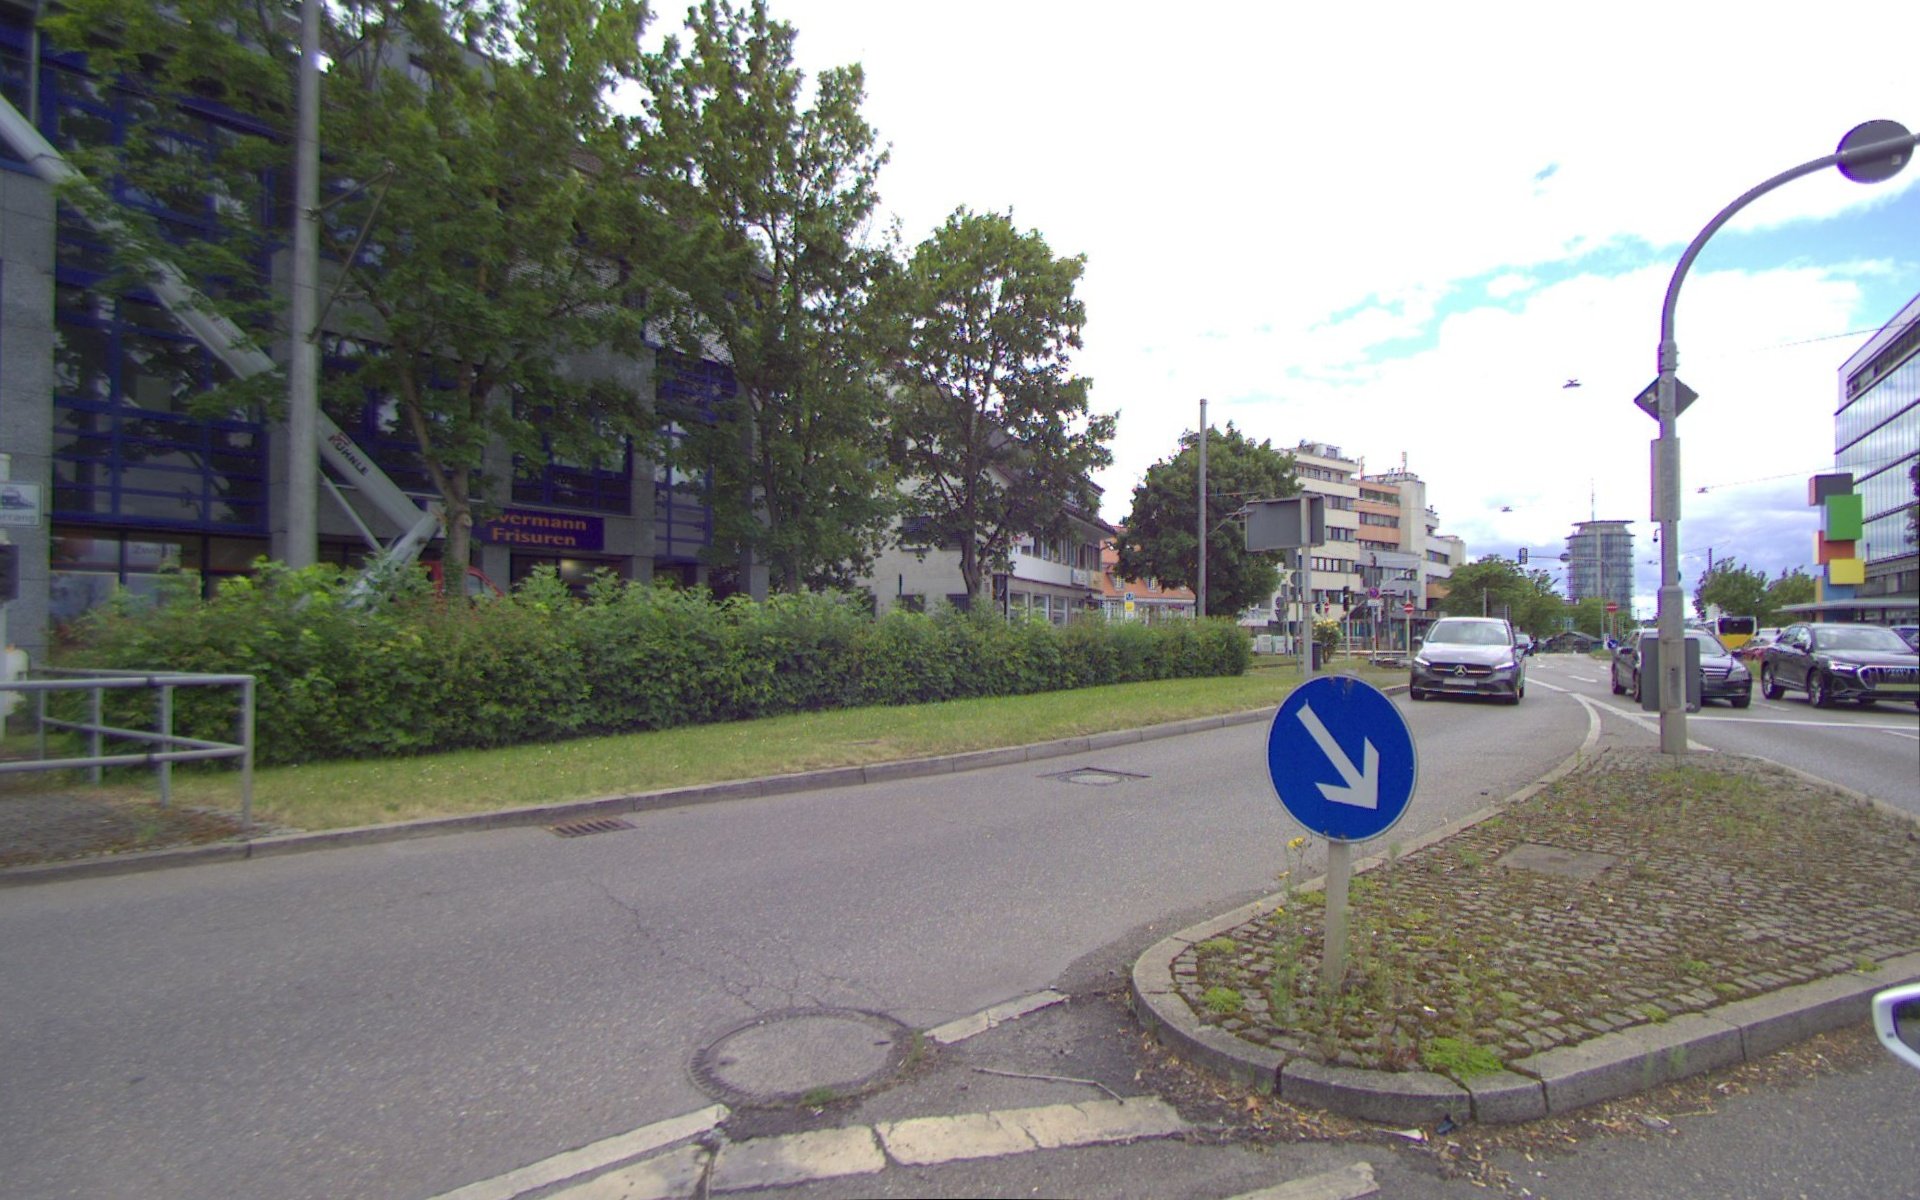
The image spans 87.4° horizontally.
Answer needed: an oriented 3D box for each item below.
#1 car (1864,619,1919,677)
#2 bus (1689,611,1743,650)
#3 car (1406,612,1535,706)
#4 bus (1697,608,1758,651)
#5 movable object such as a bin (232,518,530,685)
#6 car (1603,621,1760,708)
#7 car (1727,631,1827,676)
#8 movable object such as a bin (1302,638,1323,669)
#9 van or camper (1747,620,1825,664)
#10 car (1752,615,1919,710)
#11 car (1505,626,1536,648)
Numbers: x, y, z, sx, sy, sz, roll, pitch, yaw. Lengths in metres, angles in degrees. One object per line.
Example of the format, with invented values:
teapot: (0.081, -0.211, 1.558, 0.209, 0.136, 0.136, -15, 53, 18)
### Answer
car: (32.578, 1.595, 33.906, 1.873, 1.884, 4.703, 1, -1, 27)
bus: (65.038, 2.703, 86.560, 2.911, 3.152, 9.951, -2, -3, 33)
car: (9.856, 1.023, 19.221, 1.758, 1.558, 4.384, 1, 0, 33)
bus: (59.909, 2.385, 78.582, 2.926, 3.157, 9.220, -2, -3, 33)
movable object such as a bin: (-10.005, 0.044, 17.654, 1.880, 2.565, 4.113, 1, 0, 35)
car: (14.189, 1.180, 20.010, 1.755, 1.445, 4.392, 1, 0, 25)
car: (30.251, 1.938, 37.342, 1.844, 1.437, 4.439, 1, -1, 25)
movable object such as a bin: (12.022, 1.812, 34.251, 0.555, 1.026, 0.837, 0, -1, 26)
van or camper: (39.434, 1.965, 48.064, 1.963, 1.943, 4.403, 0, 0, 27)
car: (17.182, 1.116, 19.400, 1.858, 1.585, 4.393, 1, 0, 23)
car: (38.659, 2.565, 69.222, 1.772, 1.474, 4.604, -1, -2, 30)
